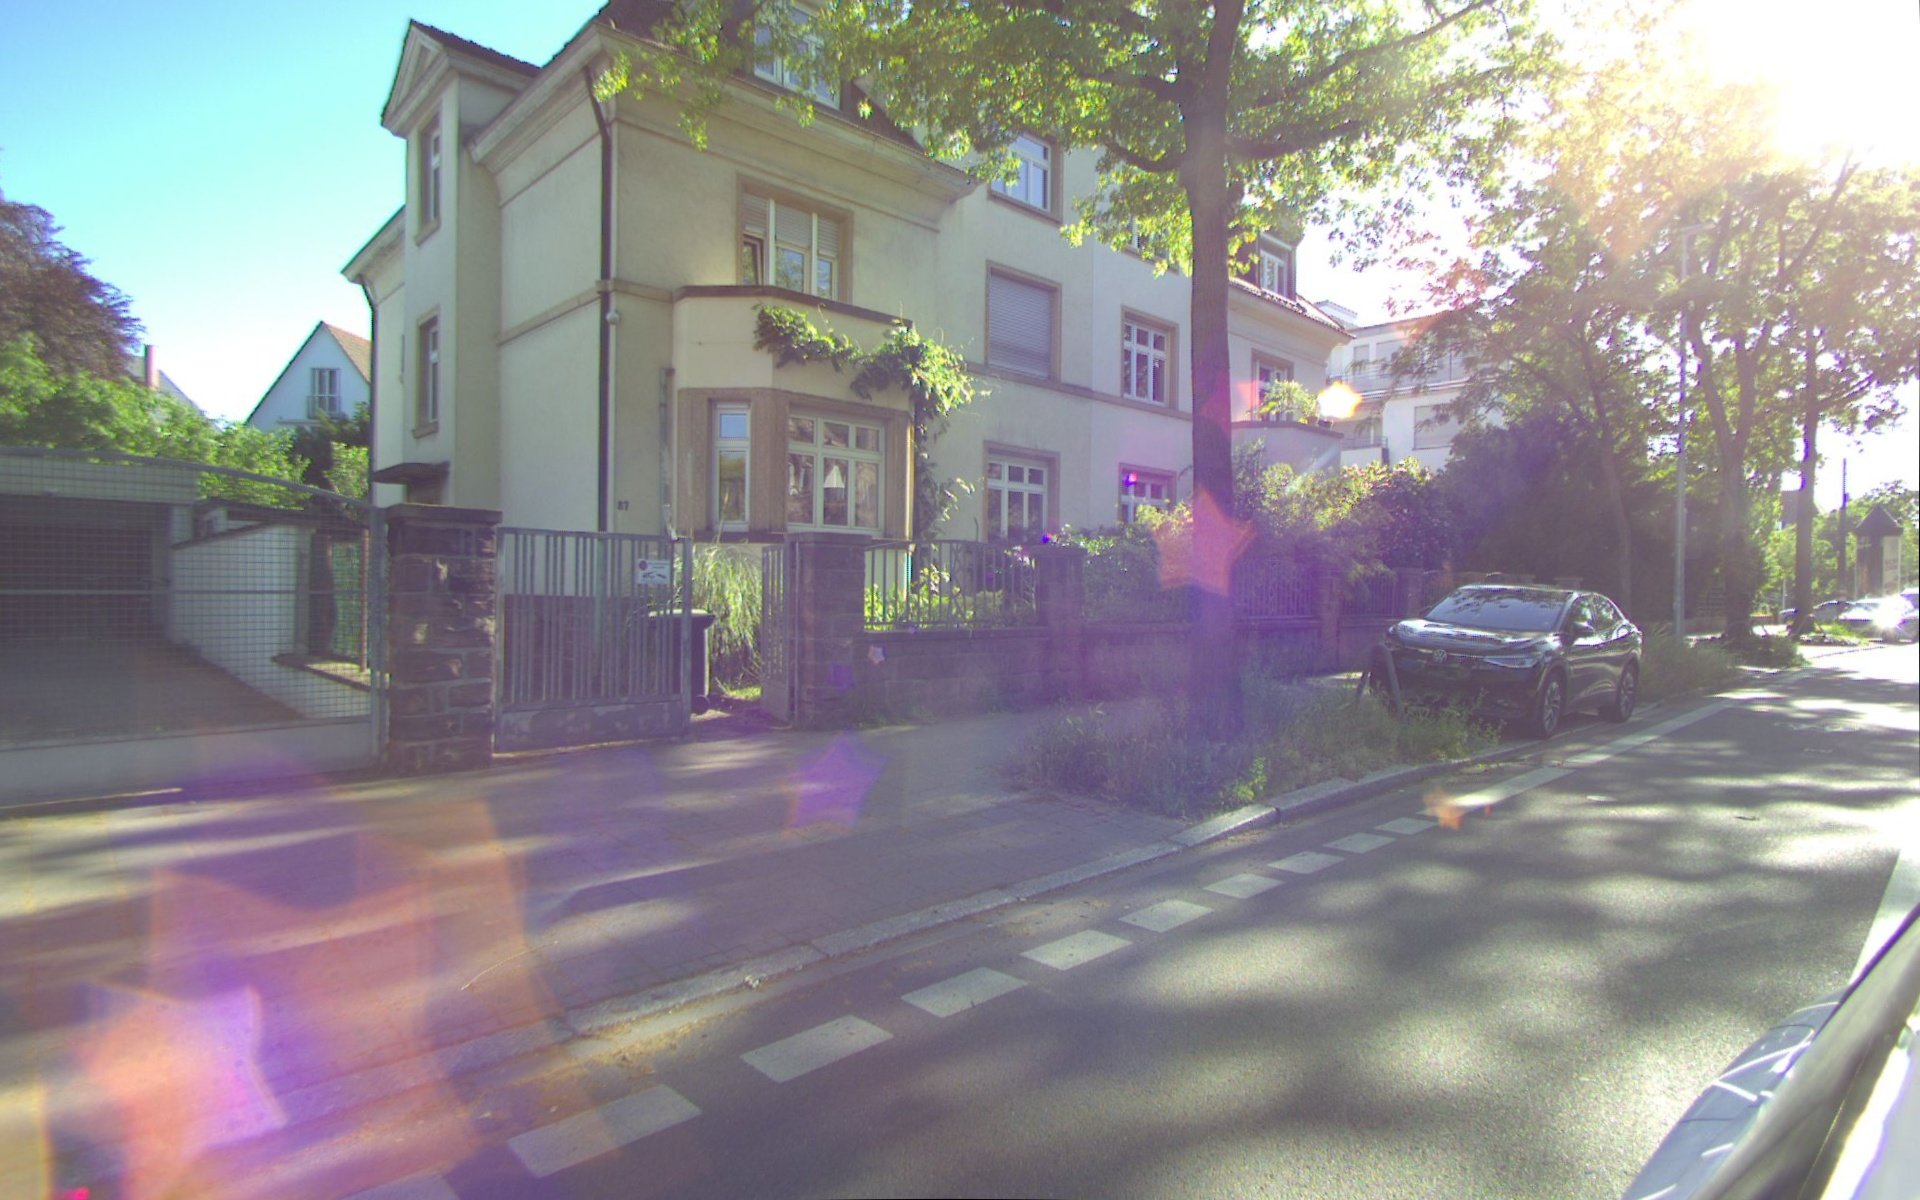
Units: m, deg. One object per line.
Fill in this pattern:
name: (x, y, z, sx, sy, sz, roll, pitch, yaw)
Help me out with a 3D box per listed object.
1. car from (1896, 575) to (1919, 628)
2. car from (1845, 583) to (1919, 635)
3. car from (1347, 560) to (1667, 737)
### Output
car: (36.939, 0.042, 37.993, 4.663, 1.919, 2.128, 0, 1, -41)
car: (31.547, 0.261, 34.135, 3.927, 1.660, 1.824, 0, 1, -38)
car: (6.706, 0.485, 12.204, 4.304, 1.695, 1.997, 1, 2, -42)
